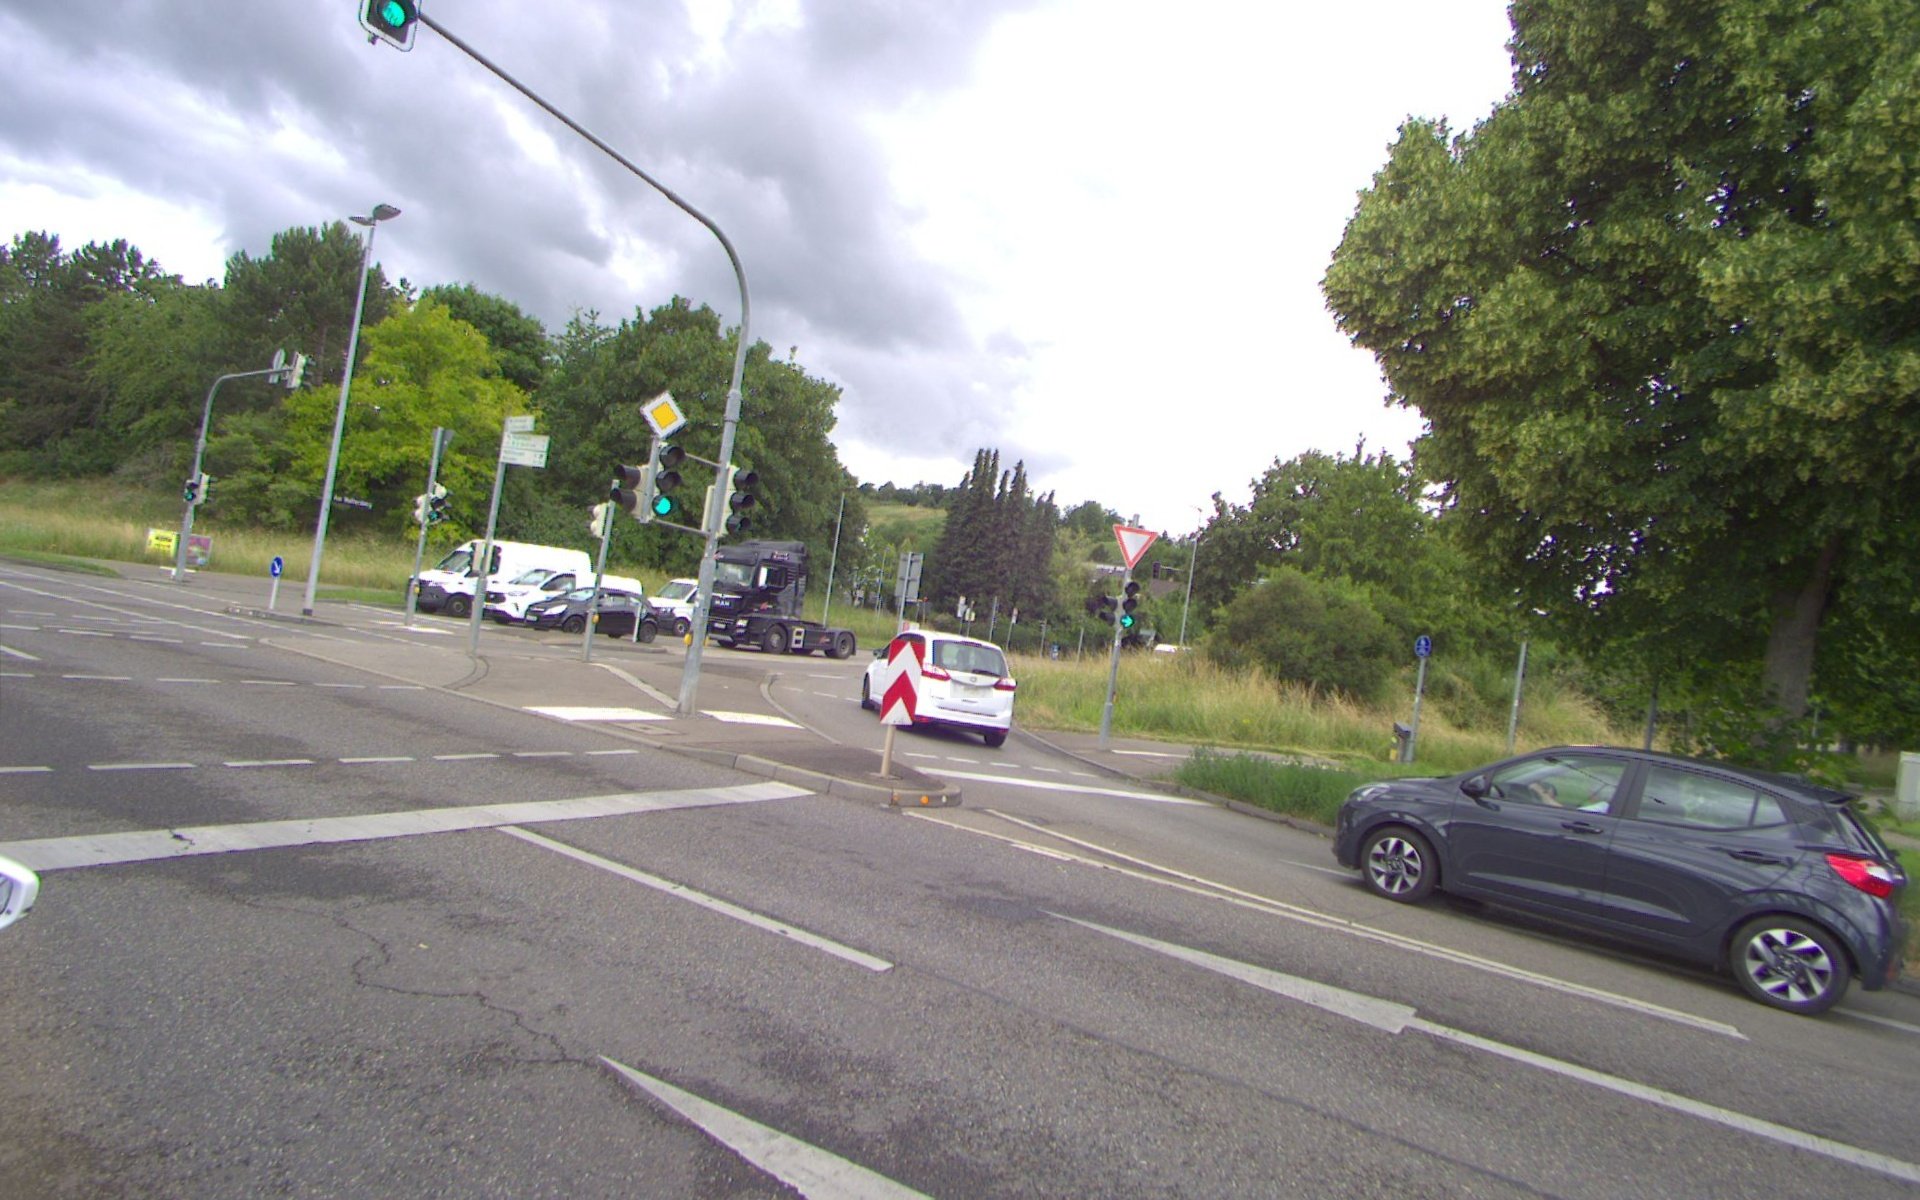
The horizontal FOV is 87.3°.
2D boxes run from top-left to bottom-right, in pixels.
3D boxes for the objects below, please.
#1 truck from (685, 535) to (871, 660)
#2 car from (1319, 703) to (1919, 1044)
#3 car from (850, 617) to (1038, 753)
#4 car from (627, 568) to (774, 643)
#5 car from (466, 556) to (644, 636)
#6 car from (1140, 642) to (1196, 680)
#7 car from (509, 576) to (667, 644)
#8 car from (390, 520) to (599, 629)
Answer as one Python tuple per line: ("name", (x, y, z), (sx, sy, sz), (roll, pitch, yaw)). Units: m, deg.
("truck", (-6.214, 0.022, 35.345), (2.682, 3.580, 6.061), (7, -1, 32))
("car", (4.851, 1.826, 7.571), (3.567, 1.445, 1.620), (6, -5, 44))
("car", (-0.441, 1.339, 17.240), (1.760, 1.612, 4.441), (11, -2, -18))
("car", (-10.428, 0.287, 40.909), (2.100, 2.316, 5.709), (7, -1, 32))
("car", (-12.781, -0.069, 32.078), (1.999, 1.918, 4.862), (7, -1, 31))
("car", (17.354, 5.114, 83.678), (2.160, 2.640, 6.509), (7, -1, 32))
("car", (-10.608, 0.333, 28.934), (1.703, 1.453, 3.927), (7, -1, 31))
("car", (-15.339, -0.738, 33.602), (2.100, 2.814, 5.903), (7, -1, 32))
